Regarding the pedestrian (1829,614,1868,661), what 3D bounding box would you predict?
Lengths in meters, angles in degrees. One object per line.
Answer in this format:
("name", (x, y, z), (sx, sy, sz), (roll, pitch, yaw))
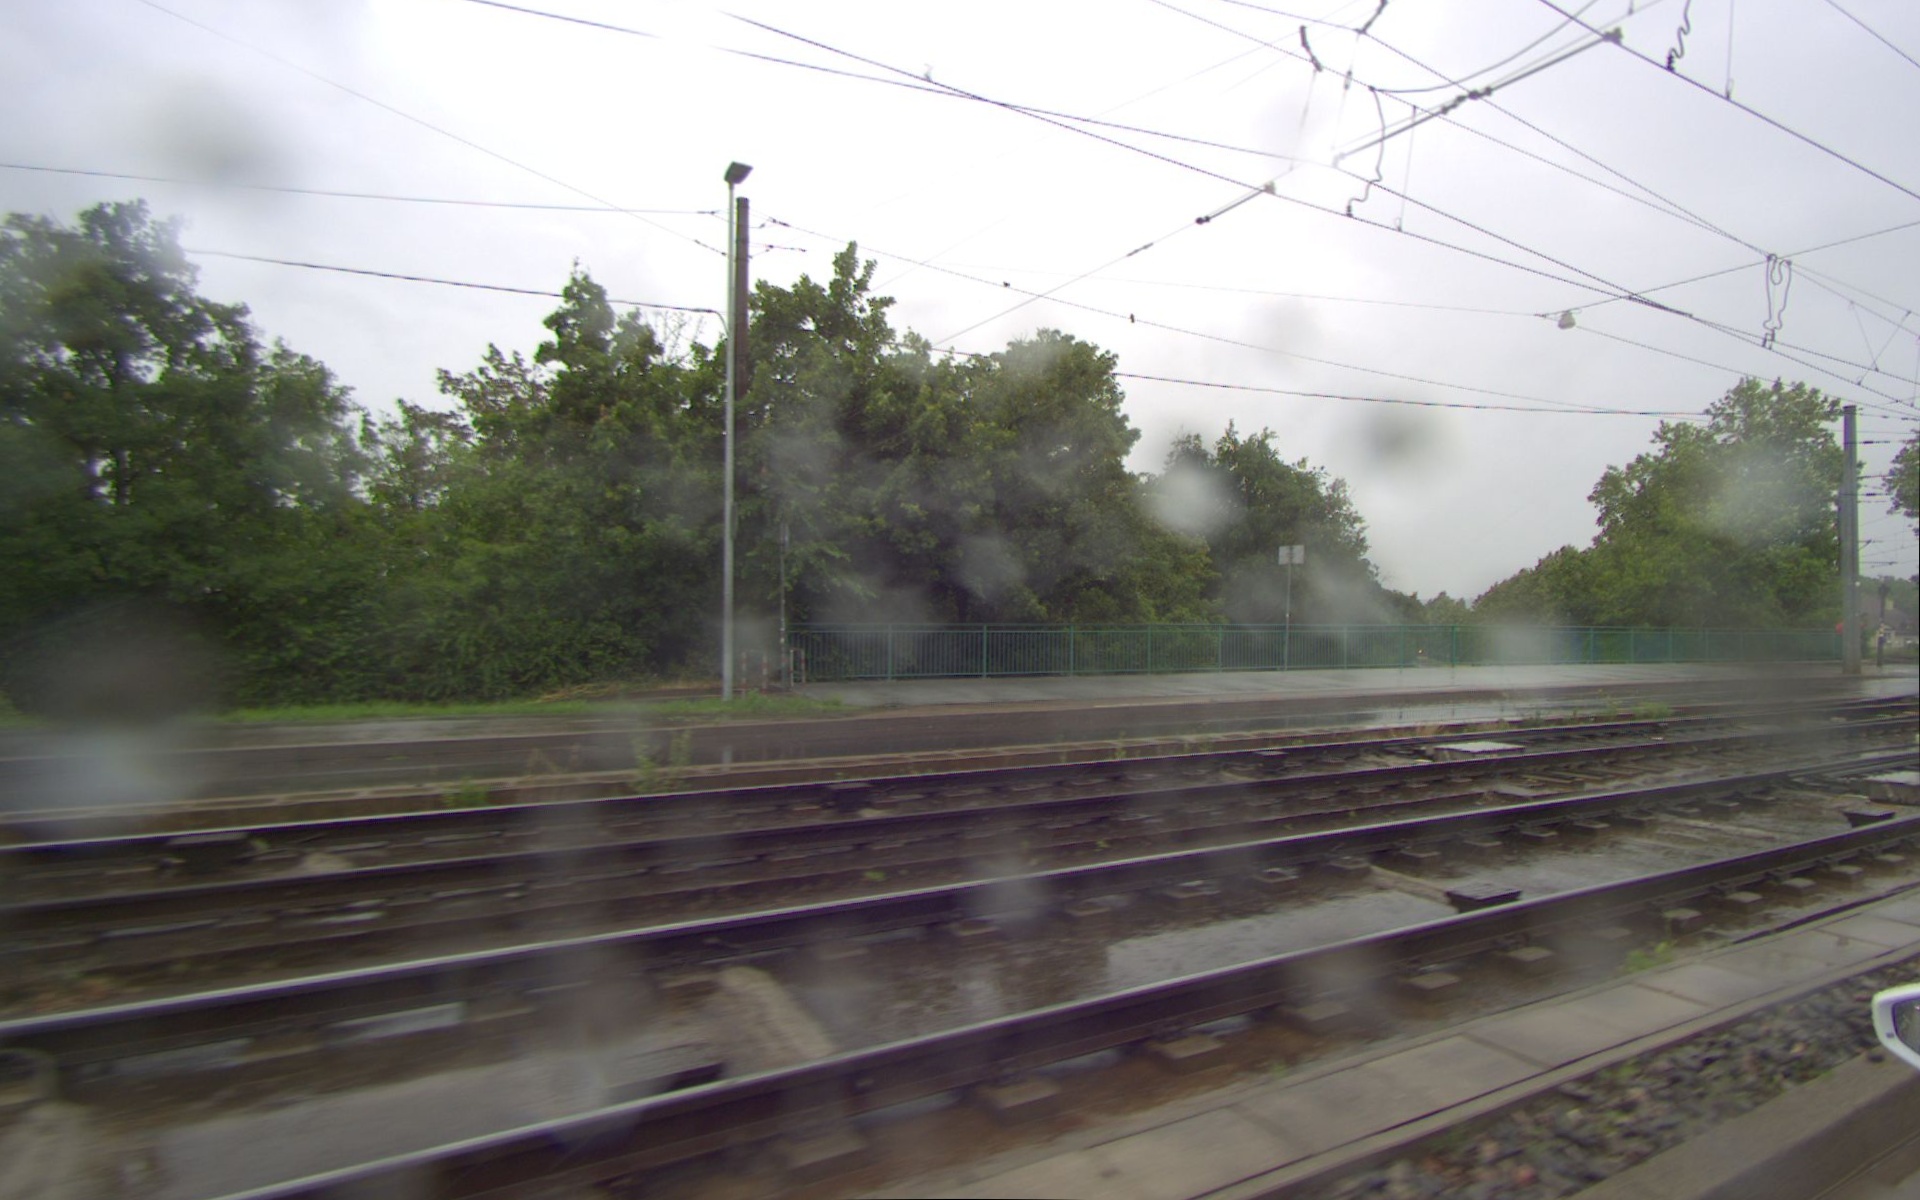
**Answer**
("pedestrian", (36.420, 1.539, 41.186), (1.030, 1.843, 0.861), (2, 0, -28))
